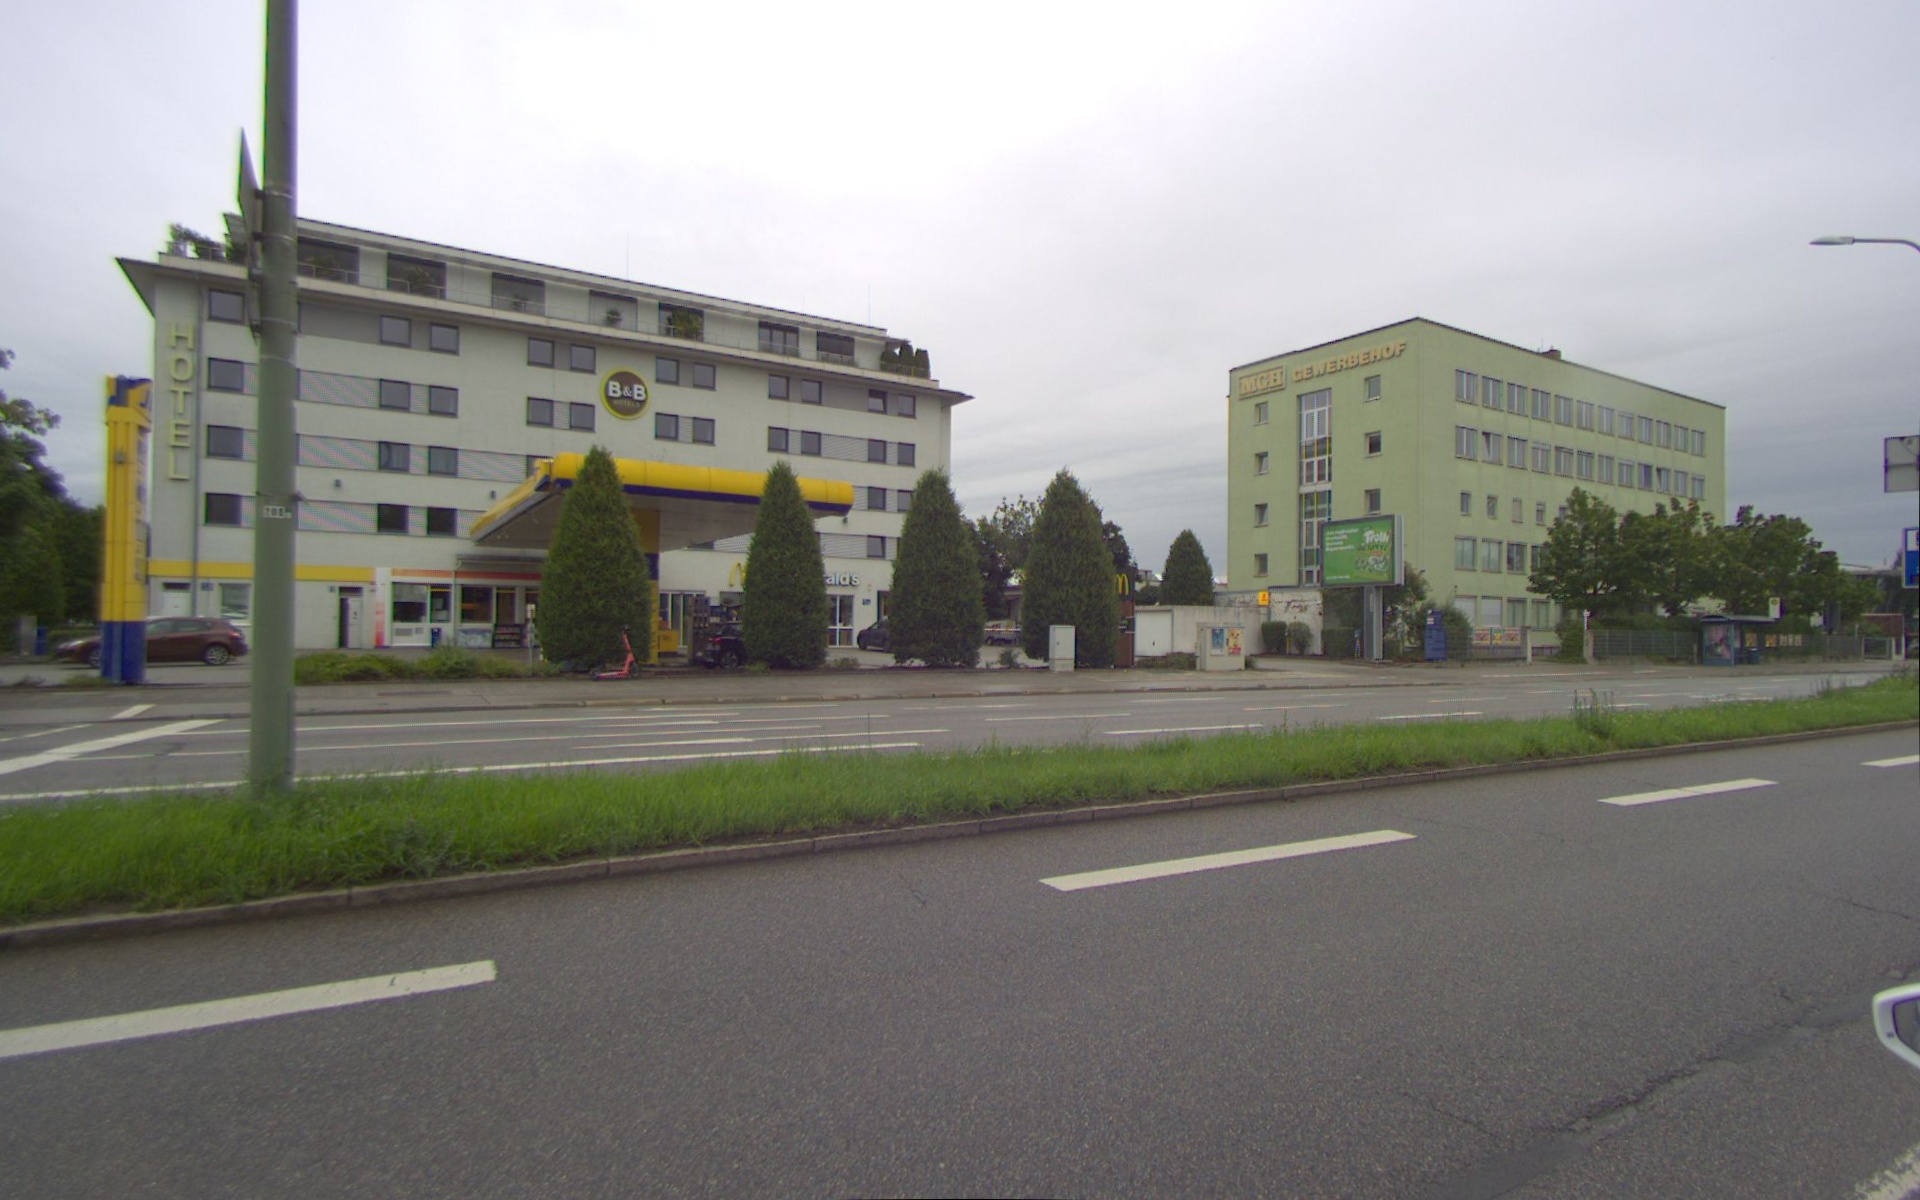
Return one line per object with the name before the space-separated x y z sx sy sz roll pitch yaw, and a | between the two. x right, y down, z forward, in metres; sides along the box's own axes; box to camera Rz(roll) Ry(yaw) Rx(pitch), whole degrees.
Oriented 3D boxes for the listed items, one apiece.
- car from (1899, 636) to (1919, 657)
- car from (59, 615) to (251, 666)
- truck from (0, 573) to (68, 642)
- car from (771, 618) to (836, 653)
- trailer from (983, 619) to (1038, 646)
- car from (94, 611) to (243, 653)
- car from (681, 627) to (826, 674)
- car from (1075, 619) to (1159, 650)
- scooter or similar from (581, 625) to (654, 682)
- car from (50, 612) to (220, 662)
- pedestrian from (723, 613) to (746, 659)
car | 84.148 3.997 86.494 4.571 1.866 1.795 -2 -3 36
car | -23.795 1.206 29.822 4.331 1.402 1.683 2 -4 -42
truck | -57.531 0.477 60.556 2.844 3.882 11.848 1 -1 -28
car | -7.770 1.742 49.565 1.688 1.608 3.964 1 -2 -33
trailer | 3.185 2.120 64.172 1.618 1.671 3.776 1 -3 -33
car | -29.444 1.213 37.558 4.147 1.497 1.892 2 -3 -33
car | -6.257 1.537 30.593 3.958 1.349 1.784 2 -3 -34
car | 7.823 1.732 50.057 3.956 1.457 1.815 2 -3 -32
scooter or similar | -7.852 1.210 23.038 1.525 1.259 0.354 1 1 -28
car | -26.228 1.198 32.103 3.932 1.505 1.616 1 -3 -31
pedestrian | -8.675 1.399 38.604 0.637 1.751 0.702 2 -3 -35
